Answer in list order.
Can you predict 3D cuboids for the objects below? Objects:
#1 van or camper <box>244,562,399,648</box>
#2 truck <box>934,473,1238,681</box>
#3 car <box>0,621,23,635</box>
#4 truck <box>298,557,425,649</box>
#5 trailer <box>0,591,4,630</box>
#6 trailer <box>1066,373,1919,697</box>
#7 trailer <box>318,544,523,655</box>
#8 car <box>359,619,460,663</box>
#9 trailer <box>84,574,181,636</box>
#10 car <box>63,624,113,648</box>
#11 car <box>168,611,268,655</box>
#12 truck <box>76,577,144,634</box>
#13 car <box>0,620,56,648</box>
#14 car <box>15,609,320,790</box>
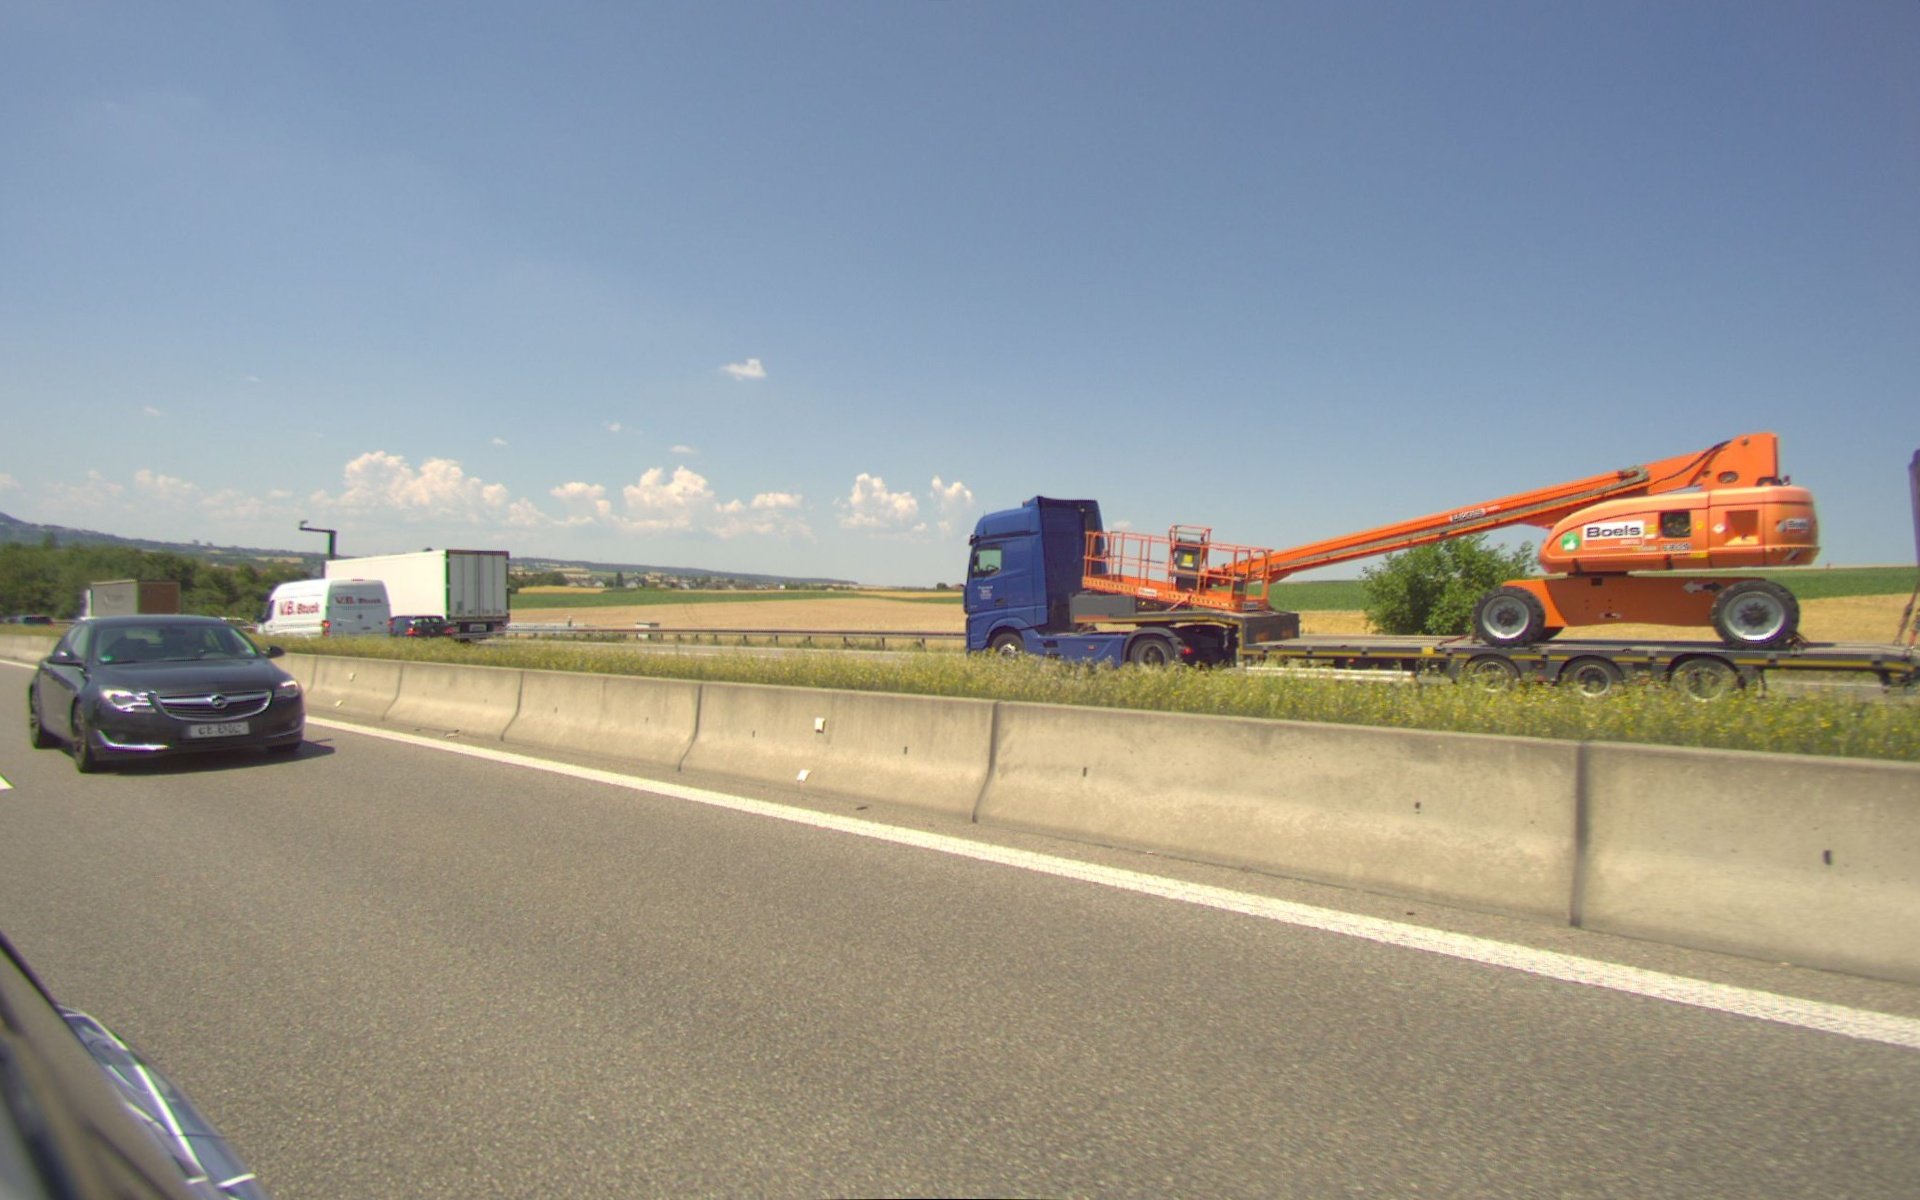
[{"bbox_3d":[-20.636,0.201,32.527,7.514,2.482,2.046,-1,-2,40],"label":"van or camper"},{"bbox_3d":[2.632,-0.388,22.344,6.133,3.968,2.748,-1,-1,40],"label":"truck"},{"bbox_3d":[-98.894,2.897,105.038,4.343,1.396,1.642,-1,0,37],"label":"car"},{"bbox_3d":[-29.510,0.192,49.789,7.120,4.238,3.194,-1,-1,40],"label":"truck"},{"bbox_3d":[-111.828,1.253,114.440,14.358,4.225,3.132,-1,1,38],"label":"trailer"},{"bbox_3d":[8.286,-0.741,17.458,13.721,3.988,2.809,-1,0,41],"label":"trailer"},{"bbox_3d":[-24.729,0.070,45.783,14.016,4.420,3.209,-1,0,40],"label":"trailer"},{"bbox_3d":[-20.200,1.462,37.064,4.500,1.490,1.800,-1,0,41],"label":"car"},{"bbox_3d":[-63.061,0.381,76.904,14.532,4.357,3.092,-1,0,40],"label":"trailer"},{"bbox_3d":[-59.811,2.440,69.409,4.568,1.467,1.848,-1,0,39],"label":"car"},{"bbox_3d":[-29.886,1.287,40.705,5.663,1.599,1.907,-1,0,39],"label":"car"},{"bbox_3d":[-68.227,0.448,81.221,6.141,4.360,3.101,-1,0,40],"label":"truck"},{"bbox_3d":[-59.690,2.155,64.806,4.959,1.680,1.974,-1,0,39],"label":"car"},{"bbox_3d":[-8.762,0.909,11.016,4.747,1.555,1.784,-1,-1,41],"label":"car"}]
